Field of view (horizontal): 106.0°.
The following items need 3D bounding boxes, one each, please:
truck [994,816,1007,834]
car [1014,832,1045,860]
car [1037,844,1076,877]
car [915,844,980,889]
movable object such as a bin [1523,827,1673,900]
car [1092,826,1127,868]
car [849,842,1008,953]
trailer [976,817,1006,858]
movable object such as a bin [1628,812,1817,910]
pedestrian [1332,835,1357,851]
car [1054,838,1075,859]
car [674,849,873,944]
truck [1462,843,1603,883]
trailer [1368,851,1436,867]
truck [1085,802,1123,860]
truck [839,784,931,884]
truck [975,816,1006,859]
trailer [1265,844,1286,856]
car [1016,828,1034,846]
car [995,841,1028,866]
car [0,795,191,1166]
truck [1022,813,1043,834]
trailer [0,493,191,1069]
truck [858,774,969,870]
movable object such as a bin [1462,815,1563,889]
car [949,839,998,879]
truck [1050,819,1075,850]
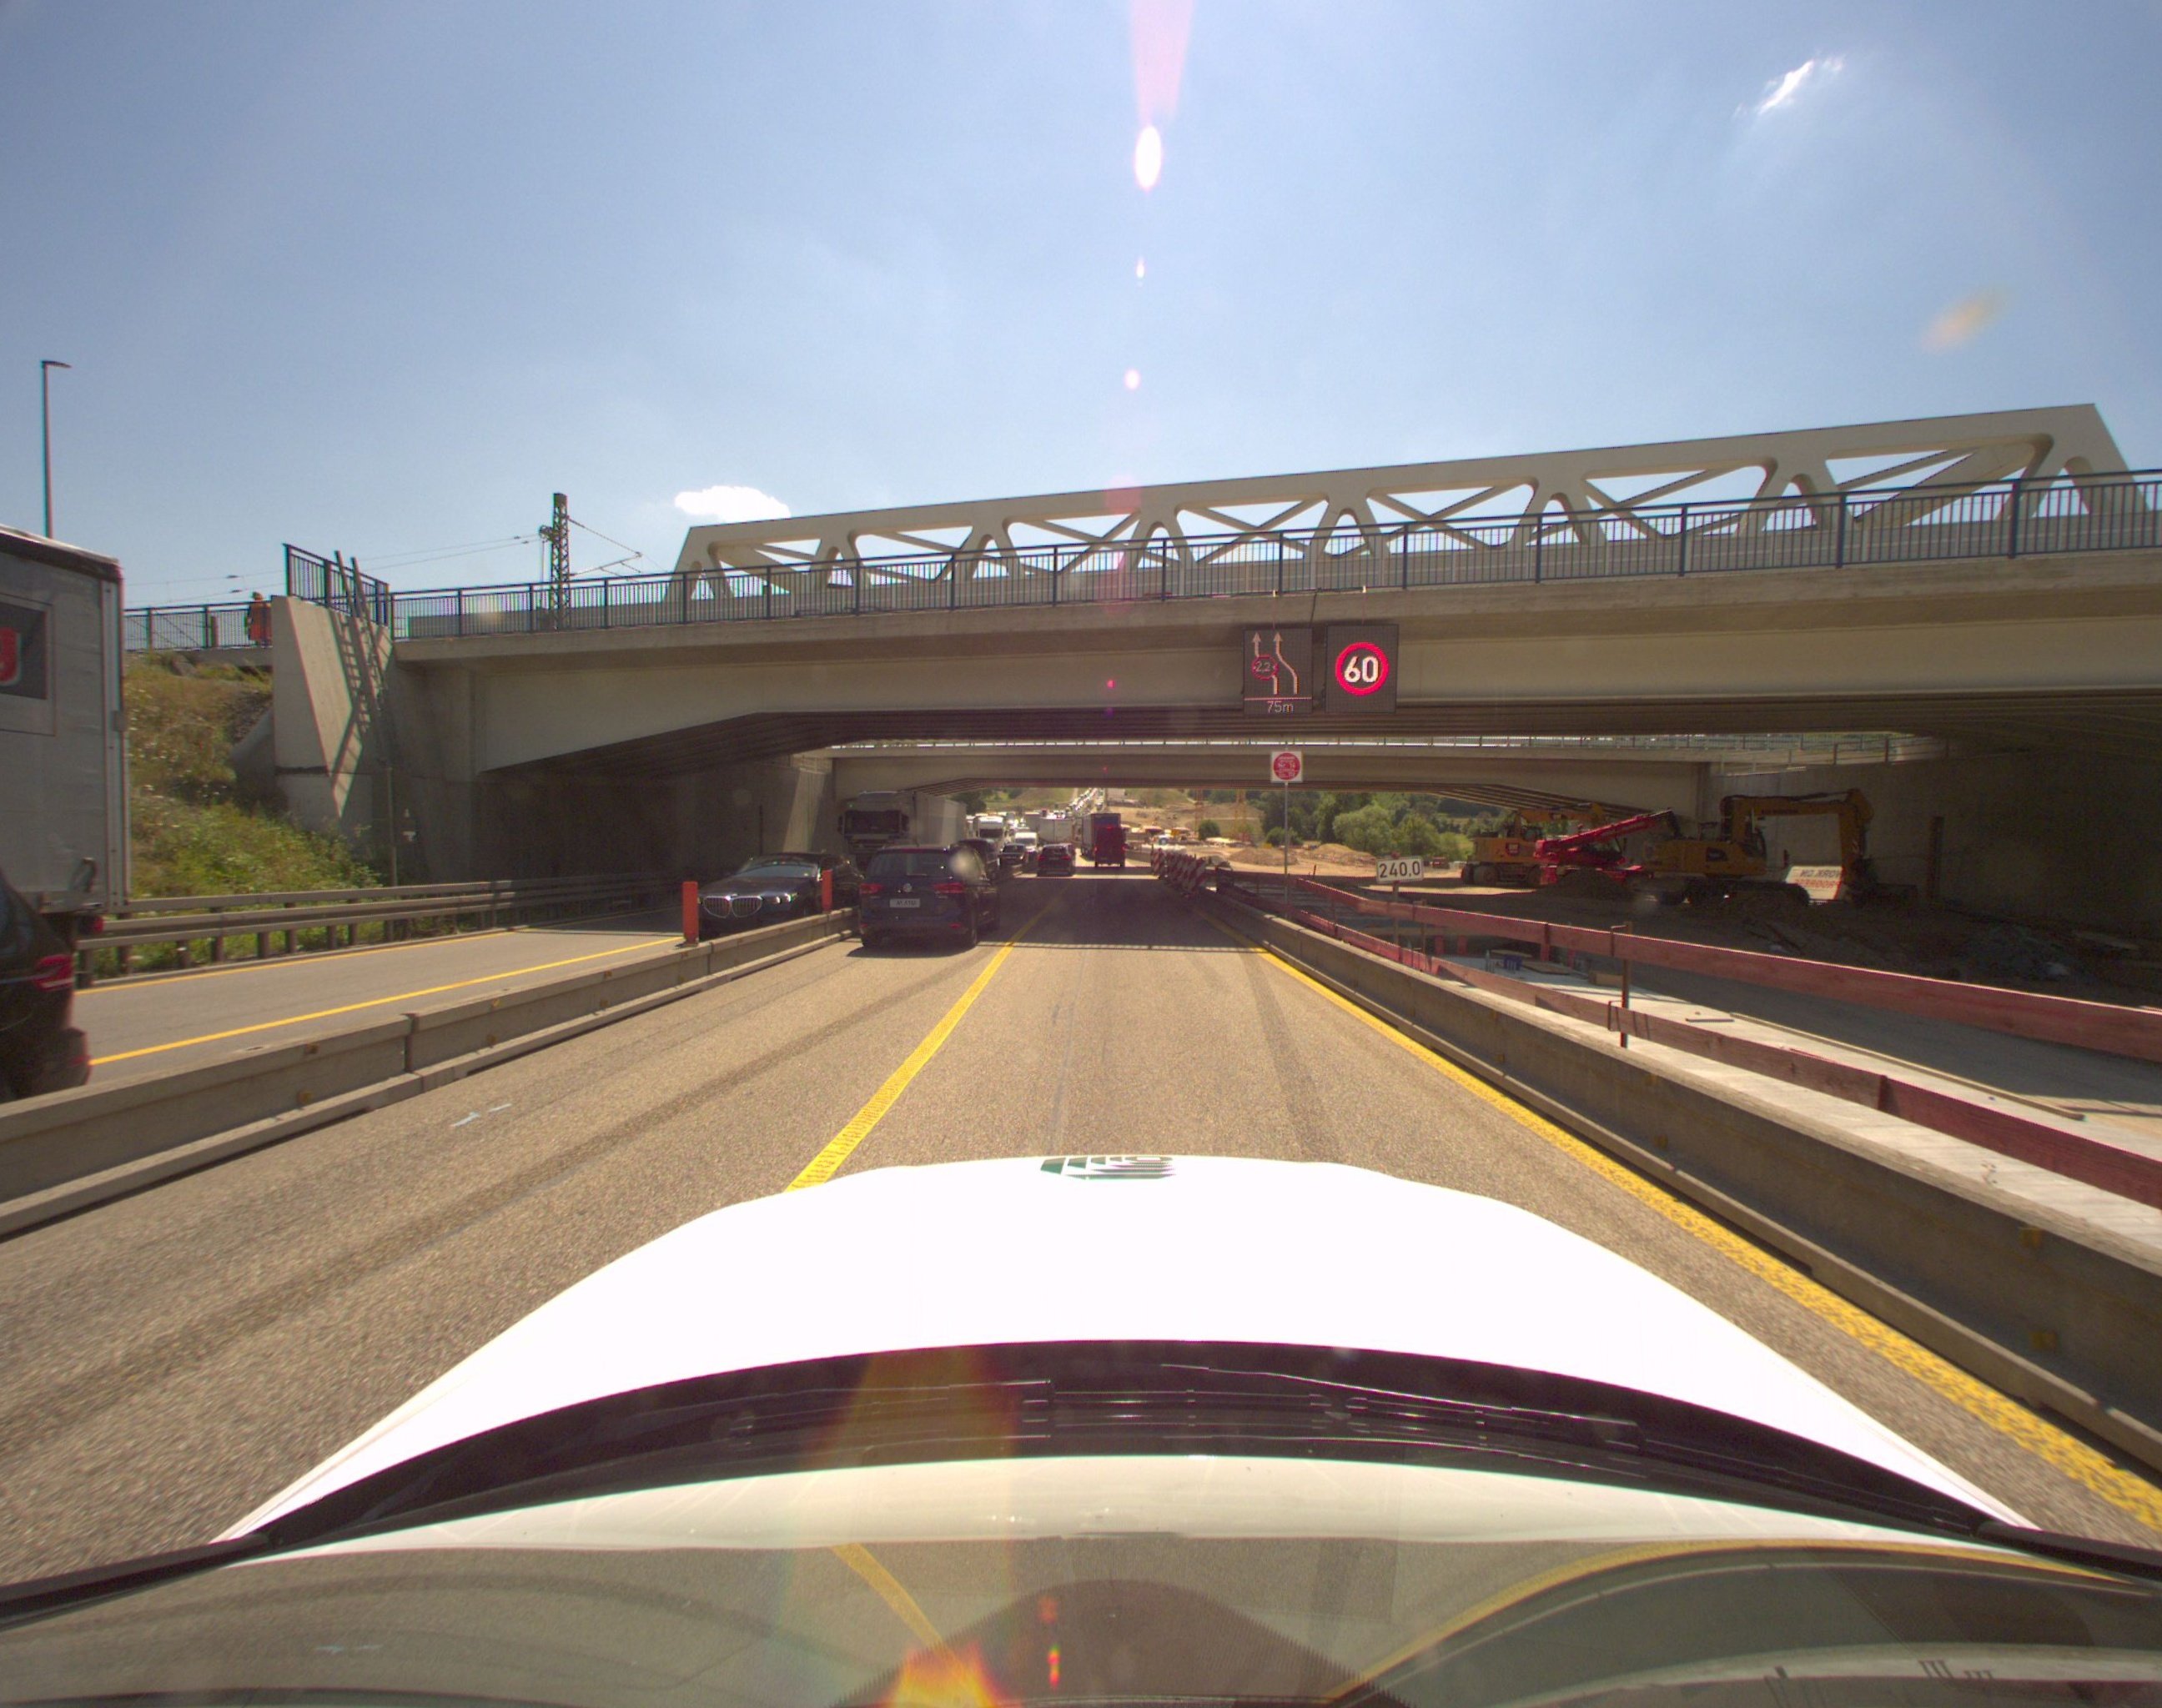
[{"bbox_3d":[-19.127,-6.935,194.173,2.619,4.269,4.729,1,2,-3],"label":"truck"},{"bbox_3d":[-4.425,-0.676,70.746,1.973,2.330,6.062,0,0,2],"label":"car"},{"bbox_3d":[-1.232,0.300,42.826,1.827,1.635,4.391,0,1,1],"label":"car"},{"bbox_3d":[-5.285,0.438,32.767,1.716,1.609,4.525,1,1,1],"label":"car"},{"bbox_3d":[23.436,0.416,37.128,5.214,3.056,2.500,1,-1,5],"label":"movable object such as a bin"},{"bbox_3d":[1.886,-0.418,53.205,2.141,2.611,5.441,0,-1,2],"label":"car"},{"bbox_3d":[-2.452,0.649,14.233,1.726,1.635,4.393,0,0,3],"label":"car"},{"bbox_3d":[-9.679,-1.784,87.382,2.874,4.039,14.327,1,1,-6],"label":"trailer"},{"bbox_3d":[23.326,0.234,29.862,4.531,3.287,2.995,1,-1,5],"label":"movable object such as a bin"},{"bbox_3d":[34.241,-1.445,106.026,1.987,2.014,4.000,0,-1,1],"label":"pedestrian"},{"bbox_3d":[-1.488,-0.461,72.699,1.828,1.777,4.387,0,0,-1],"label":"car"},{"bbox_3d":[-5.540,0.705,15.460,1.848,1.527,4.774,0,-1,1],"label":"car"},{"bbox_3d":[25.541,0.489,46.277,6.491,2.073,2.669,1,1,4],"label":"truck"},{"bbox_3d":[25.606,0.416,65.097,4.696,1.219,2.056,0,-1,1],"label":"trailer"},{"bbox_3d":[2.020,-2.167,73.331,2.938,4.944,6.737,0,3,-3],"label":"truck"},{"bbox_3d":[-8.639,-0.791,36.499,2.649,4.171,5.189,0,-1,2],"label":"truck"},{"bbox_3d":[-8.899,-1.652,80.245,2.870,4.050,4.875,1,1,-6],"label":"truck"},{"bbox_3d":[24.178,-0.520,101.362,1.619,1.486,3.824,1,1,-2],"label":"trailer"},{"bbox_3d":[-8.144,-2.466,117.903,2.264,2.354,5.146,0,3,-9],"label":"car"},{"bbox_3d":[-4.647,-0.072,54.962,1.742,1.609,4.144,0,0,2],"label":"car"},{"bbox_3d":[-6.082,0.605,2.368,1.848,1.756,4.610,0,0,1],"label":"car"},{"bbox_3d":[-8.888,-5.427,147.715,3.217,3.360,8.916,0,-1,-8],"label":"truck"},{"bbox_3d":[-9.255,-0.559,2.978,2.803,4.174,8.243,0,-1,0],"label":"trailer"},{"bbox_3d":[-8.475,-1.356,43.452,2.758,4.313,13.494,0,-1,2],"label":"truck"},{"bbox_3d":[21.728,-0.103,41.257,3.855,3.542,2.913,1,-1,12],"label":"movable object such as a bin"},{"bbox_3d":[-5.359,0.212,41.120,1.794,1.932,4.968,0,0,0],"label":"car"},{"bbox_3d":[-2.453,-2.698,109.489,3.173,3.988,6.740,0,3,-1],"label":"truck"}]
